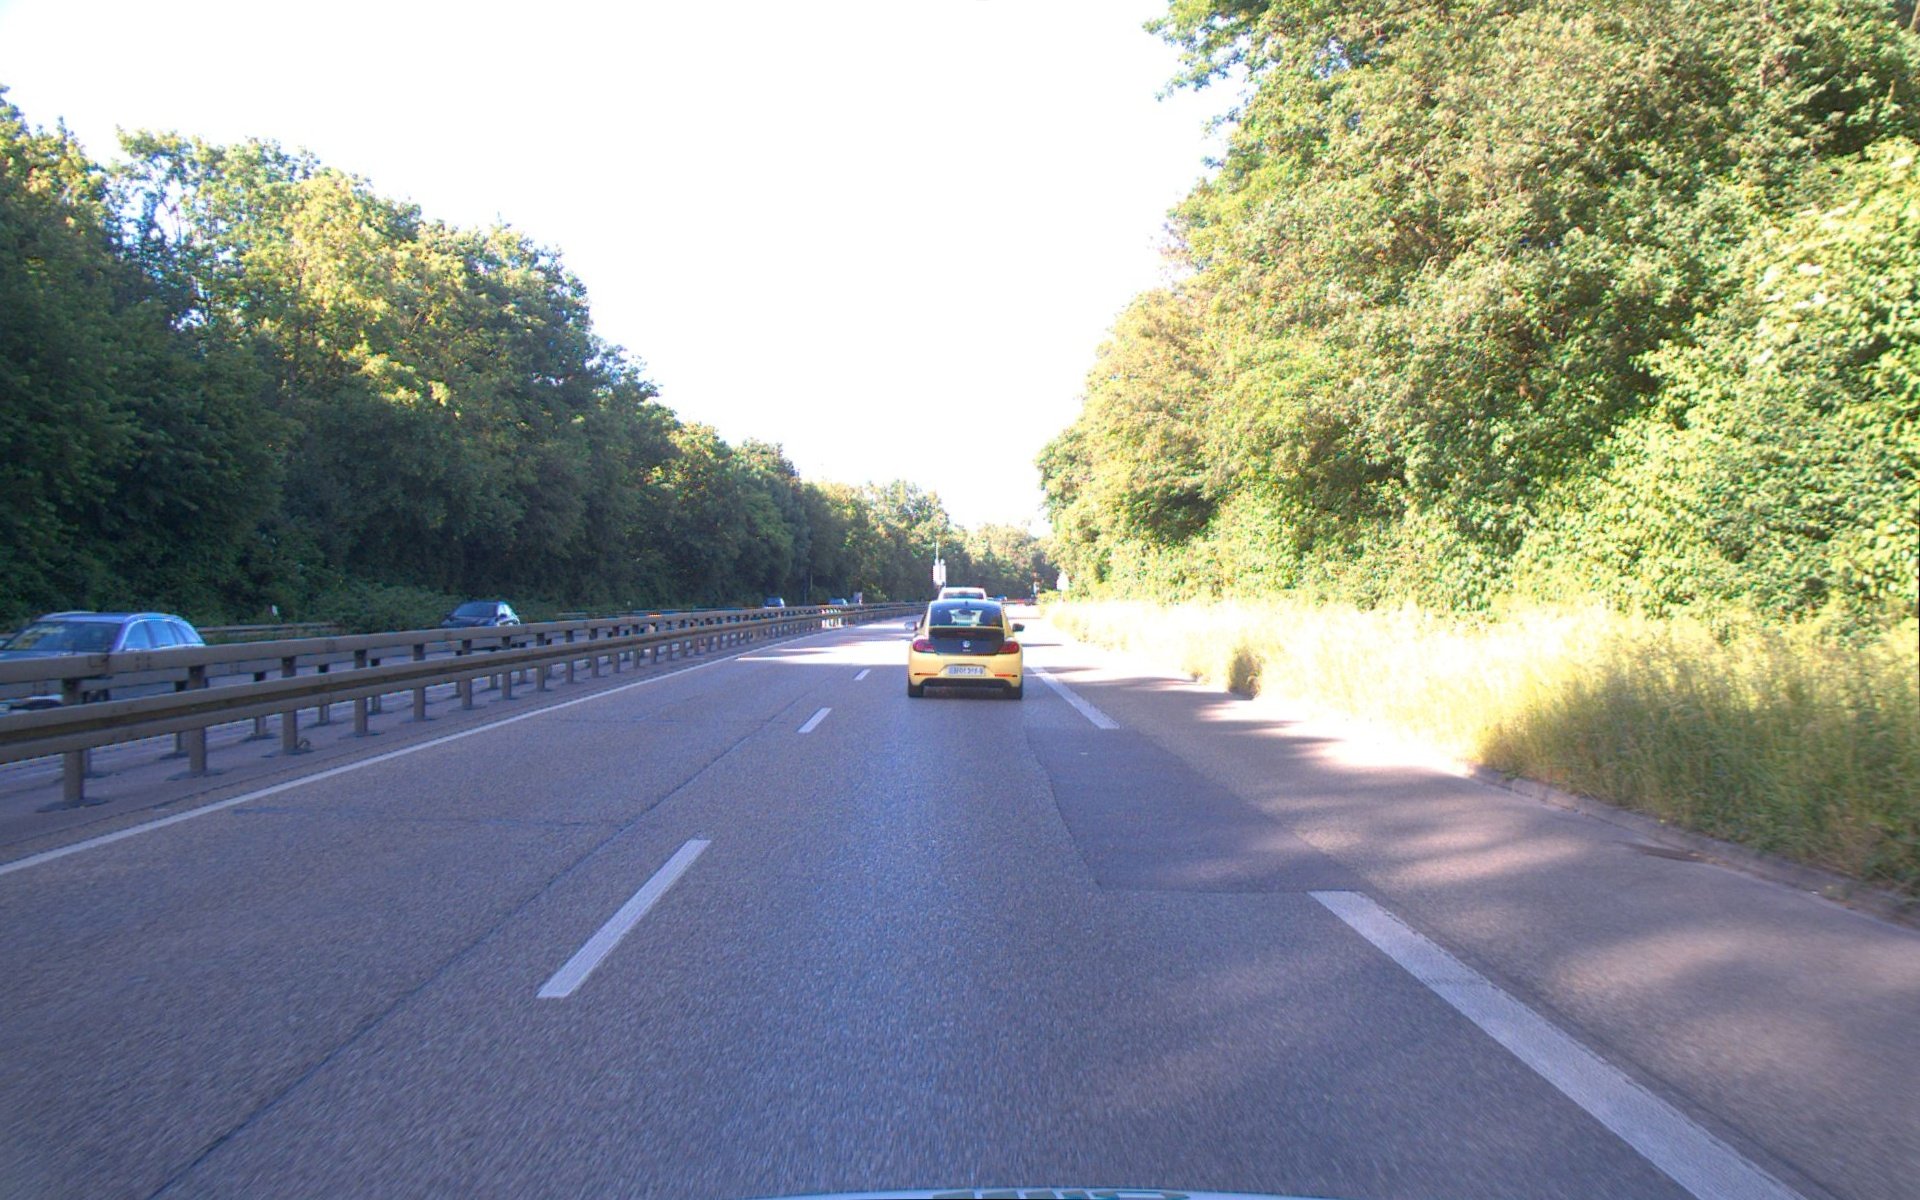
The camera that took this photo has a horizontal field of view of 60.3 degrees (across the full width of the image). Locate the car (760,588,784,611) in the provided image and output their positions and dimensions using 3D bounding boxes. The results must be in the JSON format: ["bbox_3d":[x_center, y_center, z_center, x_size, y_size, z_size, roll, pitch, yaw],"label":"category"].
[{"bbox_3d":[-13.845,-0.041,121.945,1.385,1.648,2.875,0,0,1],"label":"car"}]

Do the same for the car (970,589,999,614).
[{"bbox_3d":[1.929,0.086,130.112,2.217,1.908,5.076,0,0,0],"label":"car"}]

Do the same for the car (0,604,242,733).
[{"bbox_3d":[-11.607,0.835,22.094,1.953,1.489,4.740,-2,0,0],"label":"car"}]

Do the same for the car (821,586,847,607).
[{"bbox_3d":[-11.569,-0.334,151.900,1.952,1.780,4.551,-2,0,1],"label":"car"}]

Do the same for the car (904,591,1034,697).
[{"bbox_3d":[0.173,0.638,26.014,1.899,1.534,3.423,0,0,2],"label":"car"}]

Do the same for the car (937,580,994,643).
[{"bbox_3d":[0.177,0.338,51.786,1.705,1.862,3.422,1,0,0],"label":"car"}]

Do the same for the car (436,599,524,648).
[{"bbox_3d":[-14.839,0.686,51.295,1.573,1.448,3.999,0,0,-1],"label":"car"}]
